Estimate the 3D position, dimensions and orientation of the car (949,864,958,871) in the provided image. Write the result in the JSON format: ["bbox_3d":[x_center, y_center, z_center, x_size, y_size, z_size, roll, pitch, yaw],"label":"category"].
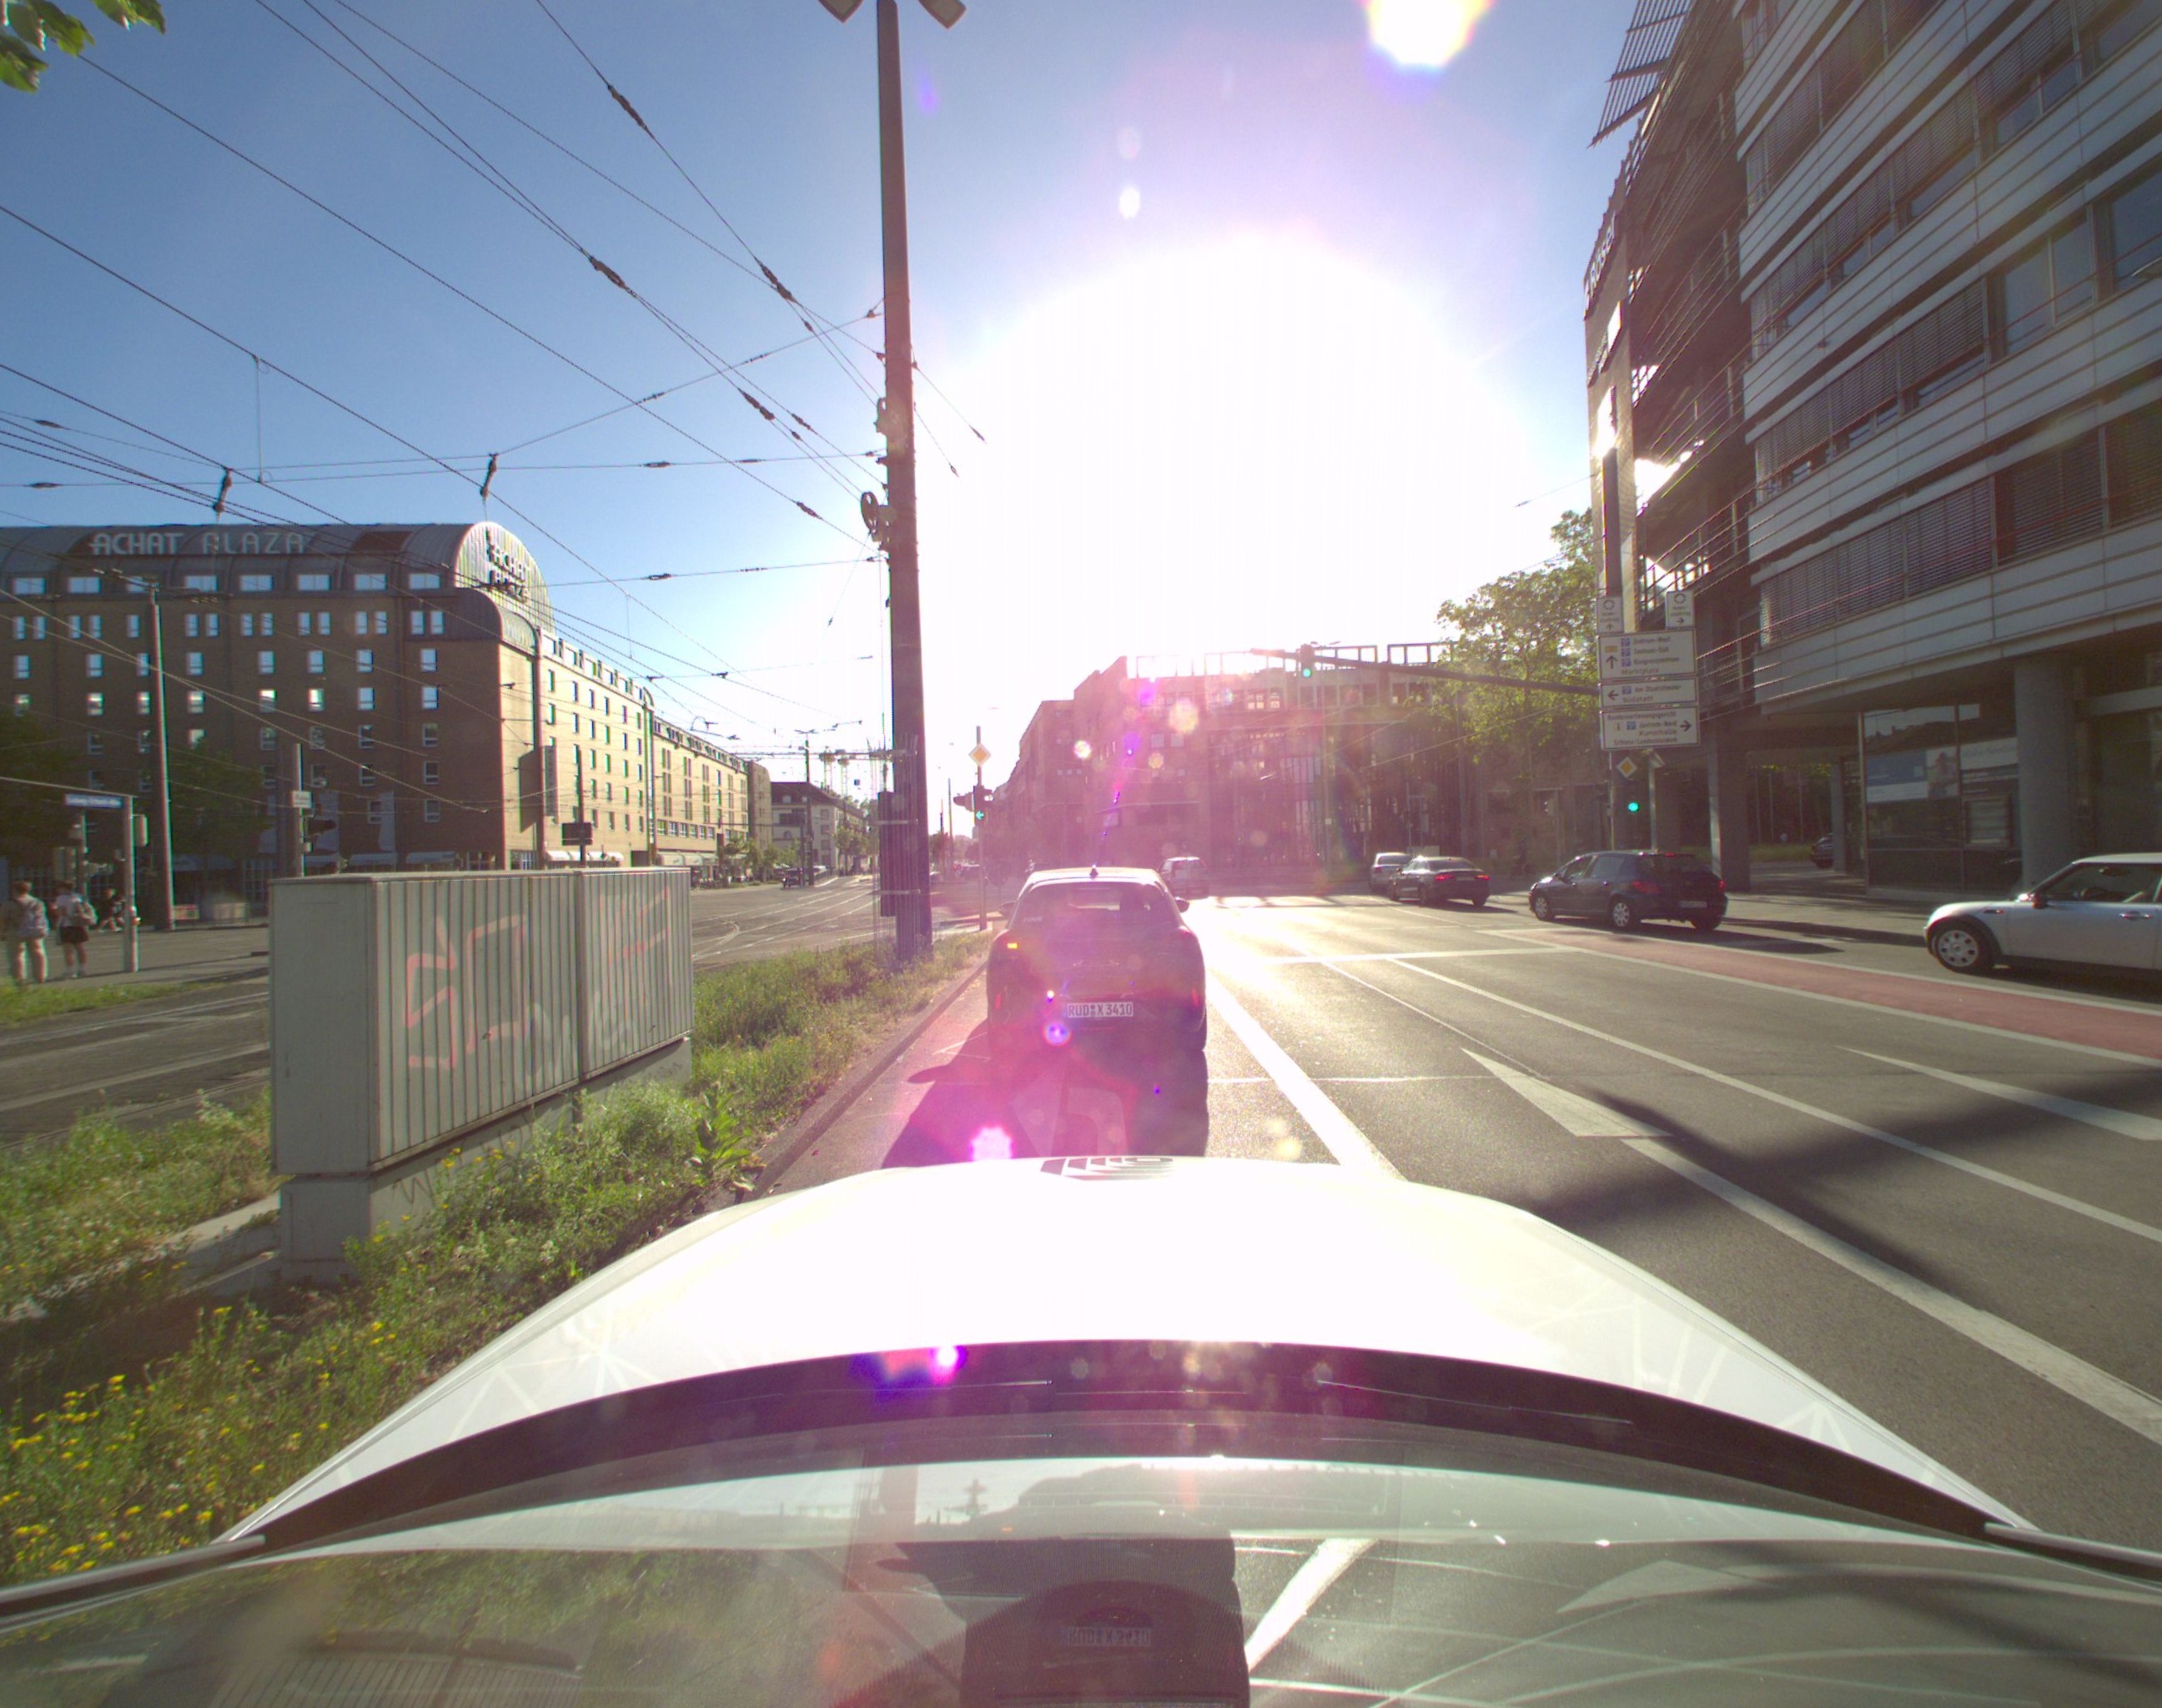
[{"bbox_3d":[-25.553,2.686,163.261,1.516,1.453,3.570,-3,0,-11],"label":"car"}]

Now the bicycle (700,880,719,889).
[{"bbox_3d":[-43.097,3.499,94.454,2.026,0.921,0.483,-3,0,1],"label":"bicycle"}]

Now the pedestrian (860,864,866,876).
[{"bbox_3d":[-30.983,2.237,115.728,0.863,1.670,0.779,-1,0,-20],"label":"pedestrian"}]

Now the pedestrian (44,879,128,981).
[{"bbox_3d":[-19.208,1.449,15.741,0.729,1.869,0.673,-2,0,-2],"label":"pedestrian"}]

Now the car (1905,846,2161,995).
[{"bbox_3d":[10.963,0.618,8.264,1.655,1.389,3.537,-1,0,1],"label":"car"}]

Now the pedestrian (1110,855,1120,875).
[{"bbox_3d":[3.127,1.012,75.067,0.641,1.786,0.684,-3,-1,-16],"label":"pedestrian"}]

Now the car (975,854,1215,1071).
[{"bbox_3d":[0.153,0.763,7.556,1.665,1.502,3.692,-1,0,2],"label":"car"}]

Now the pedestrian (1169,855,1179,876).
[{"bbox_3d":[7.807,0.957,68.557,0.573,1.786,0.546,-3,-1,-17],"label":"pedestrian"}]

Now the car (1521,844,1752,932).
[{"bbox_3d":[10.799,0.601,16.234,1.855,1.475,3.976,-2,0,0],"label":"car"}]

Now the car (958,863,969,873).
[{"bbox_3d":[-19.014,2.233,132.091,1.516,1.453,3.570,-3,0,-11],"label":"car"}]

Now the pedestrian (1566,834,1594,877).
[{"bbox_3d":[20.411,0.073,33.309,0.786,1.734,0.588,-1,-1,9],"label":"pedestrian"}]

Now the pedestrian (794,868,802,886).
[{"bbox_3d":[-24.996,1.995,71.843,0.583,1.577,0.642,-2,-1,-23],"label":"pedestrian"}]

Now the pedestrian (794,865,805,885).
[{"bbox_3d":[-24.086,1.790,69.778,0.720,1.727,0.593,-2,0,-8],"label":"pedestrian"}]

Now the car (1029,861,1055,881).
[{"bbox_3d":[-3.102,1.301,64.174,1.671,1.453,3.686,-3,0,-9],"label":"car"}]

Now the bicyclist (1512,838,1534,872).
[{"bbox_3d":[19.031,0.050,35.044,0.658,1.407,0.821,-1,1,39],"label":"bicyclist"}]

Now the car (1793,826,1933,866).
[{"bbox_3d":[32.573,-0.331,34.008,3.948,1.475,1.869,-2,0,3],"label":"car"}]

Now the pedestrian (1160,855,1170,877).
[{"bbox_3d":[6.970,0.987,67.880,0.573,1.786,0.546,-3,-1,-17],"label":"pedestrian"}]

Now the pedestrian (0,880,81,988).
[{"bbox_3d":[-19.023,1.440,14.827,0.729,1.869,0.699,-2,0,1],"label":"pedestrian"}]

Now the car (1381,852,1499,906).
[{"bbox_3d":[10.598,0.703,24.357,1.690,1.440,4.017,-1,-1,-1],"label":"car"}]

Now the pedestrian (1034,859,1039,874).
[{"bbox_3d":[-5.555,1.556,102.130,0.547,1.786,0.572,-2,2,-7],"label":"pedestrian"}]

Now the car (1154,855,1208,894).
[{"bbox_3d":[3.972,0.796,32.918,1.556,1.456,3.427,-2,0,-3],"label":"car"}]

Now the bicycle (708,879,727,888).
[{"bbox_3d":[-42.694,3.473,95.637,2.026,0.921,0.483,-3,0,1],"label":"bicycle"}]

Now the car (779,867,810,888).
[{"bbox_3d":[-27.904,2.278,79.414,1.837,1.836,4.098,-4,0,-6],"label":"car"}]

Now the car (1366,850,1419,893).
[{"bbox_3d":[11.848,0.621,31.154,1.681,1.475,4.001,-2,0,19],"label":"car"}]

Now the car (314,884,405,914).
[{"bbox_3d":[-44.402,2.773,50.197,3.855,1.601,1.607,-2,0,-15],"label":"car"}]

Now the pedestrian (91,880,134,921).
[{"bbox_3d":[-41.275,1.964,34.719,0.711,1.680,0.832,-2,1,2],"label":"pedestrian"}]

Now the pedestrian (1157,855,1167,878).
[{"bbox_3d":[6.687,1.032,67.161,0.573,1.786,0.546,-3,-1,-17],"label":"pedestrian"}]

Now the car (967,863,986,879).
[{"bbox_3d":[-10.373,1.663,80.595,1.720,1.453,3.686,-3,0,-9],"label":"car"}]

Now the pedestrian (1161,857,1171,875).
[{"bbox_3d":[7.261,1.046,69.454,0.550,1.477,0.568,-2,0,-27],"label":"pedestrian"}]

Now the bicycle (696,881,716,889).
[{"bbox_3d":[-42.832,3.519,93.095,2.026,0.845,0.483,-3,0,1],"label":"bicycle"}]

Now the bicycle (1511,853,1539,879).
[{"bbox_3d":[19.244,0.521,35.301,0.658,1.018,2.199,-1,2,39],"label":"bicycle"}]

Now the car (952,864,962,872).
[{"bbox_3d":[-22.633,2.523,148.693,1.516,1.453,3.570,-3,0,-11],"label":"car"}]
